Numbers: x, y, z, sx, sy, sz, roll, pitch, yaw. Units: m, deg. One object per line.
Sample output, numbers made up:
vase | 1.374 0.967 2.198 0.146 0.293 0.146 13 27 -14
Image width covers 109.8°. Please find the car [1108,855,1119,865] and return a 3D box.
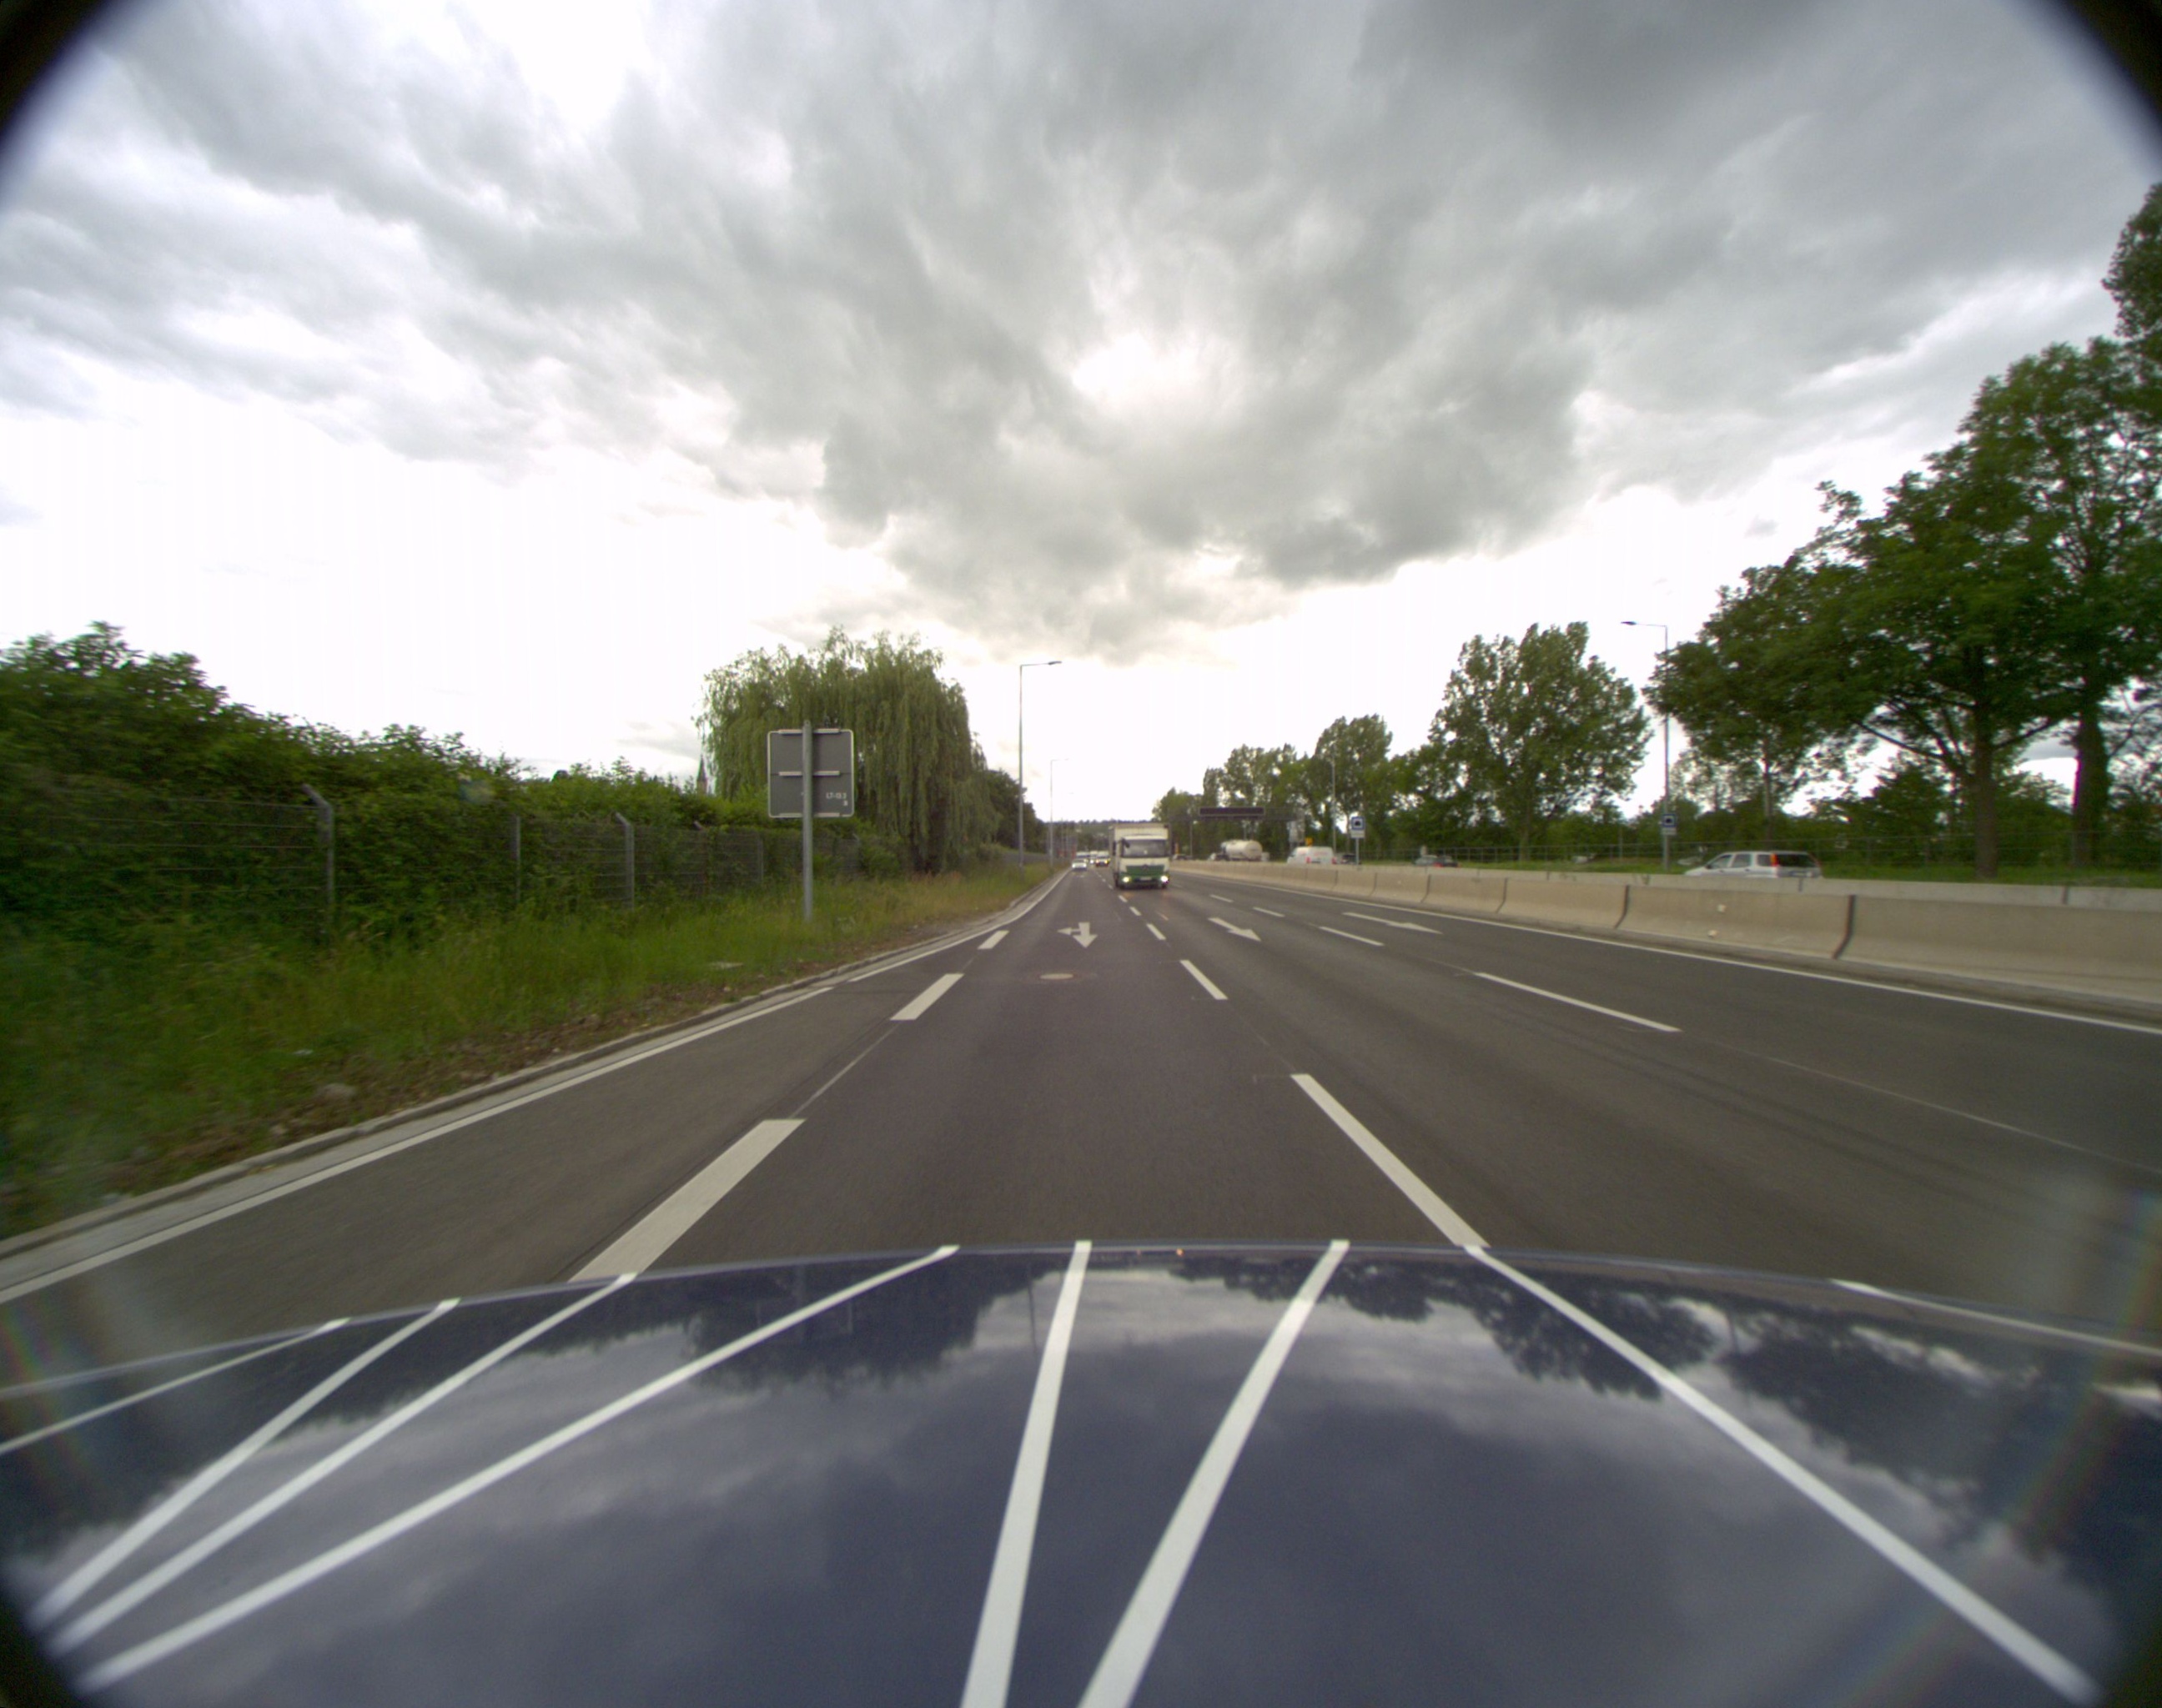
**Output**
car | 6.897 1.292 161.062 1.998 2.002 4.000 -3 0 0

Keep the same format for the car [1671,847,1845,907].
car | 21.540 0.697 24.443 1.882 1.673 4.122 -3 0 0

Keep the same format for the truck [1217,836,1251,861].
truck | 20.334 -0.709 101.336 3.106 3.200 5.390 -3 0 -2

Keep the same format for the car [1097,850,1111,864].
car | 3.543 0.470 117.006 1.998 2.002 4.000 -3 0 0

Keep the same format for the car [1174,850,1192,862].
car | 14.419 0.288 107.707 1.998 1.608 4.697 -3 0 1

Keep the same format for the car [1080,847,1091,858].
car | 0.879 -0.287 147.055 1.998 2.002 4.000 -3 0 0

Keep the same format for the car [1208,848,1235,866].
car | 14.543 0.322 78.879 1.998 1.728 4.000 -3 0 1

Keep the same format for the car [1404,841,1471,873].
car | 21.596 0.166 46.227 1.998 1.728 4.469 -3 0 1

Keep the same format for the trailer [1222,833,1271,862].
trailer | 20.571 -0.751 95.312 3.109 3.201 11.666 -3 0 -2

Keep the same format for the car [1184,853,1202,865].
car | 17.180 0.781 116.428 1.998 1.608 4.697 -3 0 1

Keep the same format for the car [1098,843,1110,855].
car | 4.423 -0.956 147.436 1.998 2.002 4.000 -3 0 0

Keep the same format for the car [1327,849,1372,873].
car | 21.072 0.551 59.758 1.998 1.728 4.304 -3 0 1

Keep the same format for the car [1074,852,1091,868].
car | 0.173 0.782 94.546 1.998 1.849 4.000 -3 0 0

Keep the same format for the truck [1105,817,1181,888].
truck | 2.934 -0.063 38.580 2.943 3.064 8.386 -3 0 -1

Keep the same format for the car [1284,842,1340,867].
car | 15.473 0.055 51.159 1.999 1.550 4.884 -3 0 -3

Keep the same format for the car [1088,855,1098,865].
car | 2.640 1.355 170.082 1.998 2.002 4.000 -3 0 0
